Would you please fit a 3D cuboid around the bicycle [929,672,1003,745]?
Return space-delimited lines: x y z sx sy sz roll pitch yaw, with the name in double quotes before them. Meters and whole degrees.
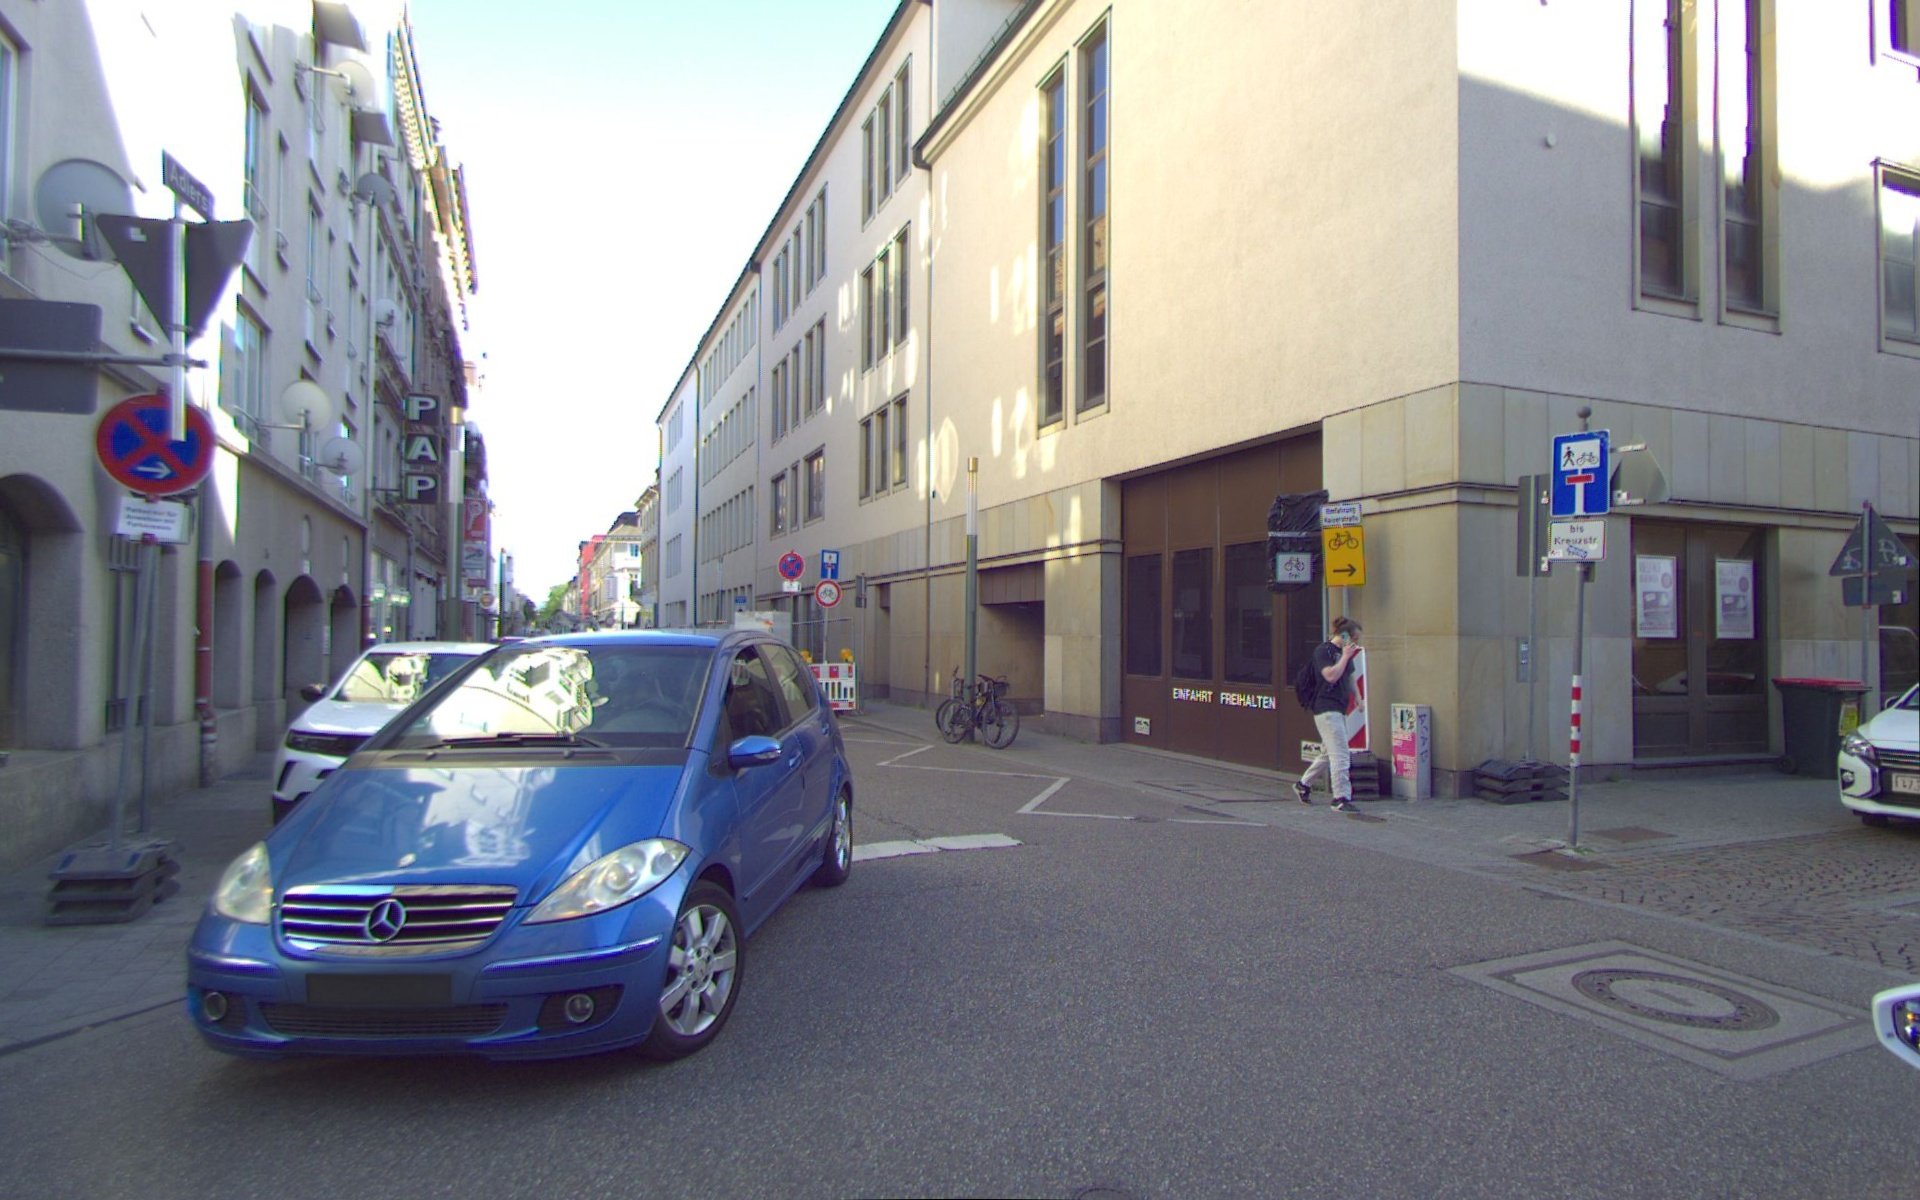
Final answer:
"bicycle" 0.080 1.720 16.187 0.299 1.064 1.525 2 -2 -39

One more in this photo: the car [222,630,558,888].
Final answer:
"car" -4.436 1.099 8.466 1.717 1.614 3.953 2 -3 -19

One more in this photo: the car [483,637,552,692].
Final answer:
"car" -13.847 1.974 31.305 1.770 1.545 3.974 3 -3 -26

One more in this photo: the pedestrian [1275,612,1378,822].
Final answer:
"pedestrian" 3.427 1.068 9.470 0.844 1.878 0.716 0 -3 16

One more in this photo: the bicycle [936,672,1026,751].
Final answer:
"bicycle" 0.289 1.663 15.224 0.299 1.064 1.772 2 -2 -39

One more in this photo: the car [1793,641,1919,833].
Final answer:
"car" 9.283 1.113 8.648 3.746 1.511 1.733 1 -4 -24

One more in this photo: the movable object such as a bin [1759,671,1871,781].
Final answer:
"movable object such as a bin" 9.397 1.365 11.055 0.582 1.115 0.735 2 0 -22

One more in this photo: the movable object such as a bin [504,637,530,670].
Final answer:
"movable object such as a bin" -21.572 2.608 48.898 1.069 1.564 0.902 3 -3 -27

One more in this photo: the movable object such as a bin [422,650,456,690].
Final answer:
"movable object such as a bin" -14.810 1.983 28.548 0.827 1.062 0.749 2 0 -28

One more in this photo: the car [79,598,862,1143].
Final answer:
"car" -1.689 0.886 4.937 1.820 1.614 3.808 -1 -2 3
